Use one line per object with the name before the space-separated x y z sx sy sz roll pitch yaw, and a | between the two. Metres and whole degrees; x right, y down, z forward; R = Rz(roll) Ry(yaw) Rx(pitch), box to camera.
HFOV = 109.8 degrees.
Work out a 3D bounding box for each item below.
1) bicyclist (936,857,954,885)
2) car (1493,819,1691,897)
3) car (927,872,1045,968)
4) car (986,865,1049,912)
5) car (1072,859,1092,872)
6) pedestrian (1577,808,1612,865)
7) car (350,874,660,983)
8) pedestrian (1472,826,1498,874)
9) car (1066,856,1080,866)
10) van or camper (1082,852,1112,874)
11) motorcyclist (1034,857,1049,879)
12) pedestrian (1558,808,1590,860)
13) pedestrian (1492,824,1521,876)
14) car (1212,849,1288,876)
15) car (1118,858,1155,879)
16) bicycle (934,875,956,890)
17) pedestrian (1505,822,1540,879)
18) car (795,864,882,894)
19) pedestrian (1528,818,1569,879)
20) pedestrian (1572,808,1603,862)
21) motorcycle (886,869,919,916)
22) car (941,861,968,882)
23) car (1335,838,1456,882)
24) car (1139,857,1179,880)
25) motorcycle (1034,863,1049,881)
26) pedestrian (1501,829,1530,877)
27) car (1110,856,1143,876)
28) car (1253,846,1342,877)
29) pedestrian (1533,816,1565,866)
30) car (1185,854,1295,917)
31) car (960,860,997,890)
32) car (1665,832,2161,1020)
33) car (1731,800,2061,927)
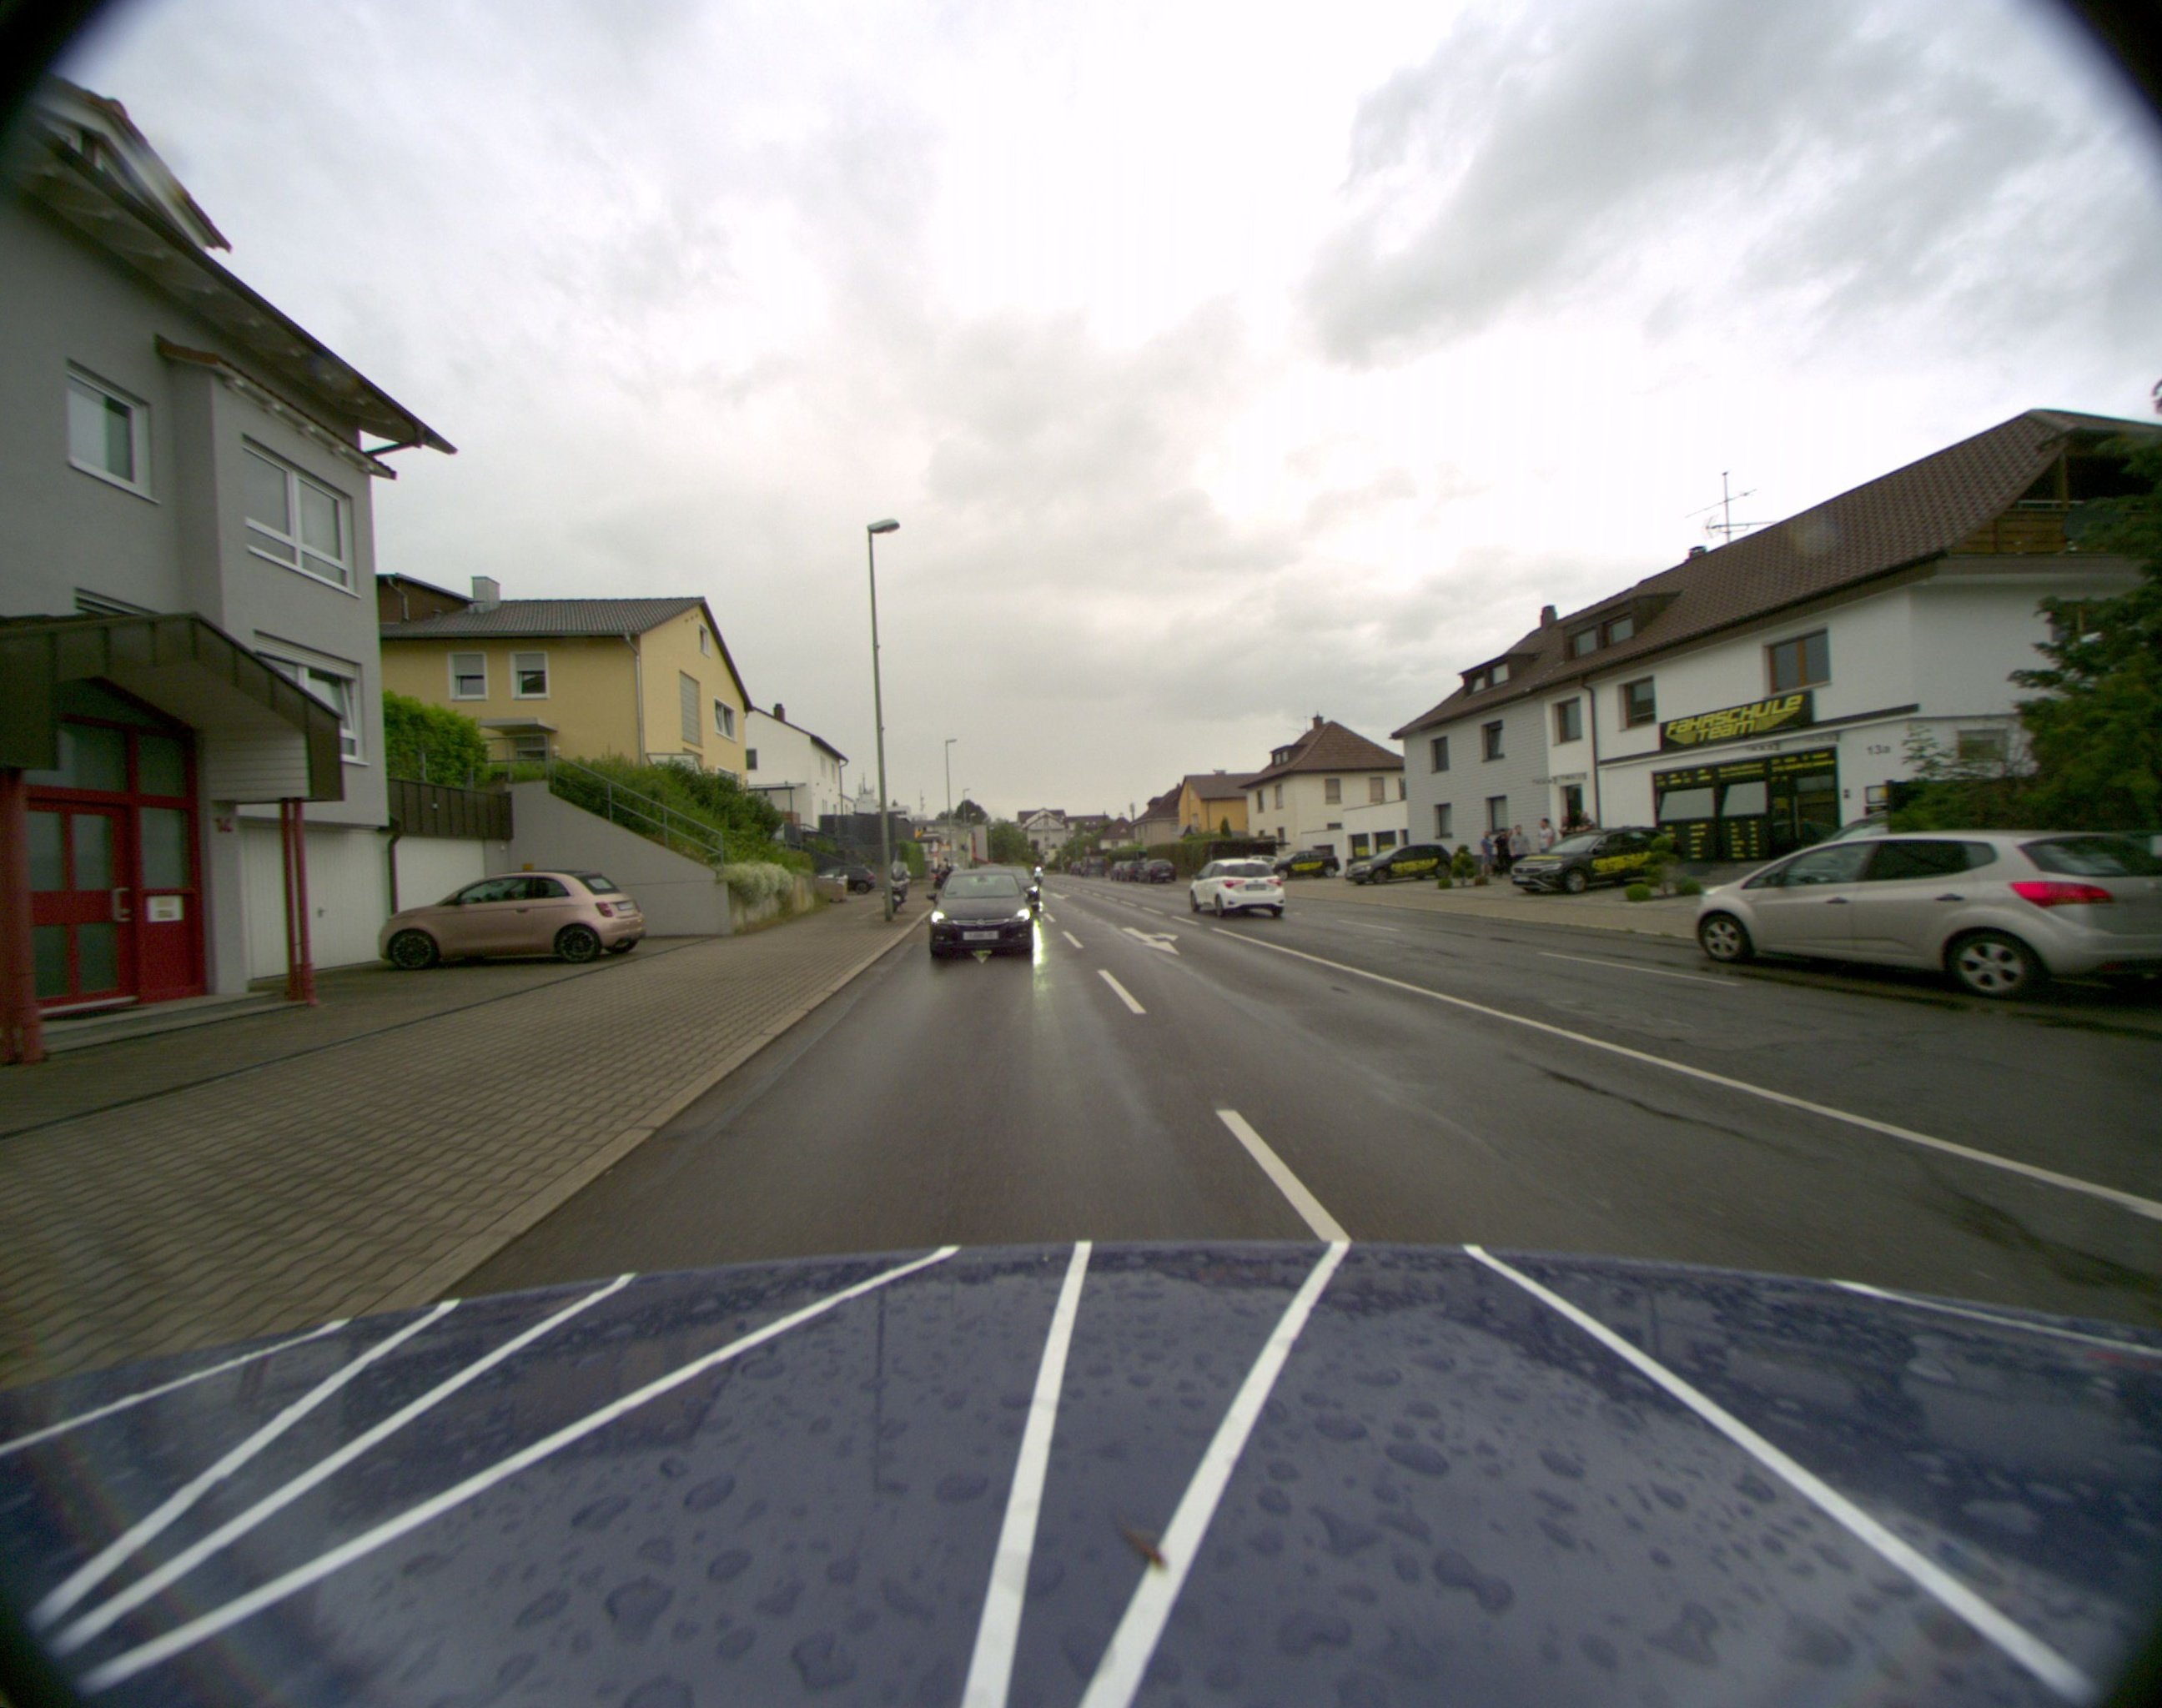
bicyclist | -8.045 0.982 45.054 0.809 1.633 0.906 -1 0 4
car | 13.594 0.121 20.363 3.998 1.555 1.872 -7 0 -5
car | -1.765 1.091 14.094 1.842 1.390 3.997 -1 0 -7
car | -2.176 1.147 25.832 1.911 1.389 4.856 -1 -2 -5
car | 0.050 1.337 90.432 1.889 1.477 3.998 -1 0 -7
pedestrian | 15.644 -0.527 23.171 0.674 1.661 0.691 -5 1 24
car | -9.361 1.152 12.672 3.644 1.476 1.811 -2 0 -10
pedestrian | 15.096 -0.153 28.418 0.447 1.743 0.689 -5 1 -5
car | -1.349 1.242 130.285 1.999 1.565 3.998 -1 1 -5
van or camper | 1.546 0.884 75.158 2.191 2.002 5.131 -1 1 -7
motorcyclist | -2.667 0.935 51.124 0.953 1.413 0.992 -2 0 -4
pedestrian | 16.375 -0.647 25.230 0.575 1.661 0.551 -5 1 -7
pedestrian | 15.050 -0.141 26.896 0.652 1.776 0.648 -4 -1 18
car | 10.267 0.550 46.262 4.114 1.475 1.838 2 -1 -12
car | 3.980 1.032 55.222 1.810 1.407 3.997 -1 0 -8
bicycle | -8.054 1.691 45.087 0.733 0.821 2.235 -1 0 4
pedestrian | 14.450 -0.117 24.870 0.670 1.778 0.539 -5 1 -2
car | -12.184 1.236 38.371 4.001 1.395 1.672 -1 0 -12
pedestrian | 14.865 -0.182 24.168 0.734 1.856 0.686 -5 1 0
pedestrian | 16.138 -0.606 24.205 0.517 1.661 0.512 -5 1 0
motorcycle | -5.431 1.136 23.227 0.694 1.317 2.478 -1 0 -7
car | -9.606 1.329 57.826 1.738 1.481 3.998 -1 0 -5
car | 12.526 0.247 30.377 3.999 1.411 1.883 -4 0 -5
car | 5.020 0.905 49.254 1.810 1.407 3.998 -1 0 -5
motorcycle | -2.667 1.199 51.056 0.944 1.101 2.405 -2 0 -4
pedestrian | 15.830 -0.024 27.704 0.588 1.698 0.561 -5 1 -7
car | 3.565 0.907 60.481 1.810 1.504 3.997 -1 0 -8
car | 11.462 0.395 40.427 4.111 1.411 1.883 -3 0 -5
pedestrian | 15.973 -0.435 25.960 0.584 1.661 0.575 -5 1 -7
car | 4.210 0.791 20.802 1.838 1.521 3.998 -1 0 -5
car | -5.609 1.190 41.842 1.841 1.447 4.001 -1 -4 -5
car | 9.171 0.589 8.538 1.810 1.559 4.140 -1 1 -5
car | 14.472 0.148 13.631 4.192 1.710 1.739 -6 0 -5
